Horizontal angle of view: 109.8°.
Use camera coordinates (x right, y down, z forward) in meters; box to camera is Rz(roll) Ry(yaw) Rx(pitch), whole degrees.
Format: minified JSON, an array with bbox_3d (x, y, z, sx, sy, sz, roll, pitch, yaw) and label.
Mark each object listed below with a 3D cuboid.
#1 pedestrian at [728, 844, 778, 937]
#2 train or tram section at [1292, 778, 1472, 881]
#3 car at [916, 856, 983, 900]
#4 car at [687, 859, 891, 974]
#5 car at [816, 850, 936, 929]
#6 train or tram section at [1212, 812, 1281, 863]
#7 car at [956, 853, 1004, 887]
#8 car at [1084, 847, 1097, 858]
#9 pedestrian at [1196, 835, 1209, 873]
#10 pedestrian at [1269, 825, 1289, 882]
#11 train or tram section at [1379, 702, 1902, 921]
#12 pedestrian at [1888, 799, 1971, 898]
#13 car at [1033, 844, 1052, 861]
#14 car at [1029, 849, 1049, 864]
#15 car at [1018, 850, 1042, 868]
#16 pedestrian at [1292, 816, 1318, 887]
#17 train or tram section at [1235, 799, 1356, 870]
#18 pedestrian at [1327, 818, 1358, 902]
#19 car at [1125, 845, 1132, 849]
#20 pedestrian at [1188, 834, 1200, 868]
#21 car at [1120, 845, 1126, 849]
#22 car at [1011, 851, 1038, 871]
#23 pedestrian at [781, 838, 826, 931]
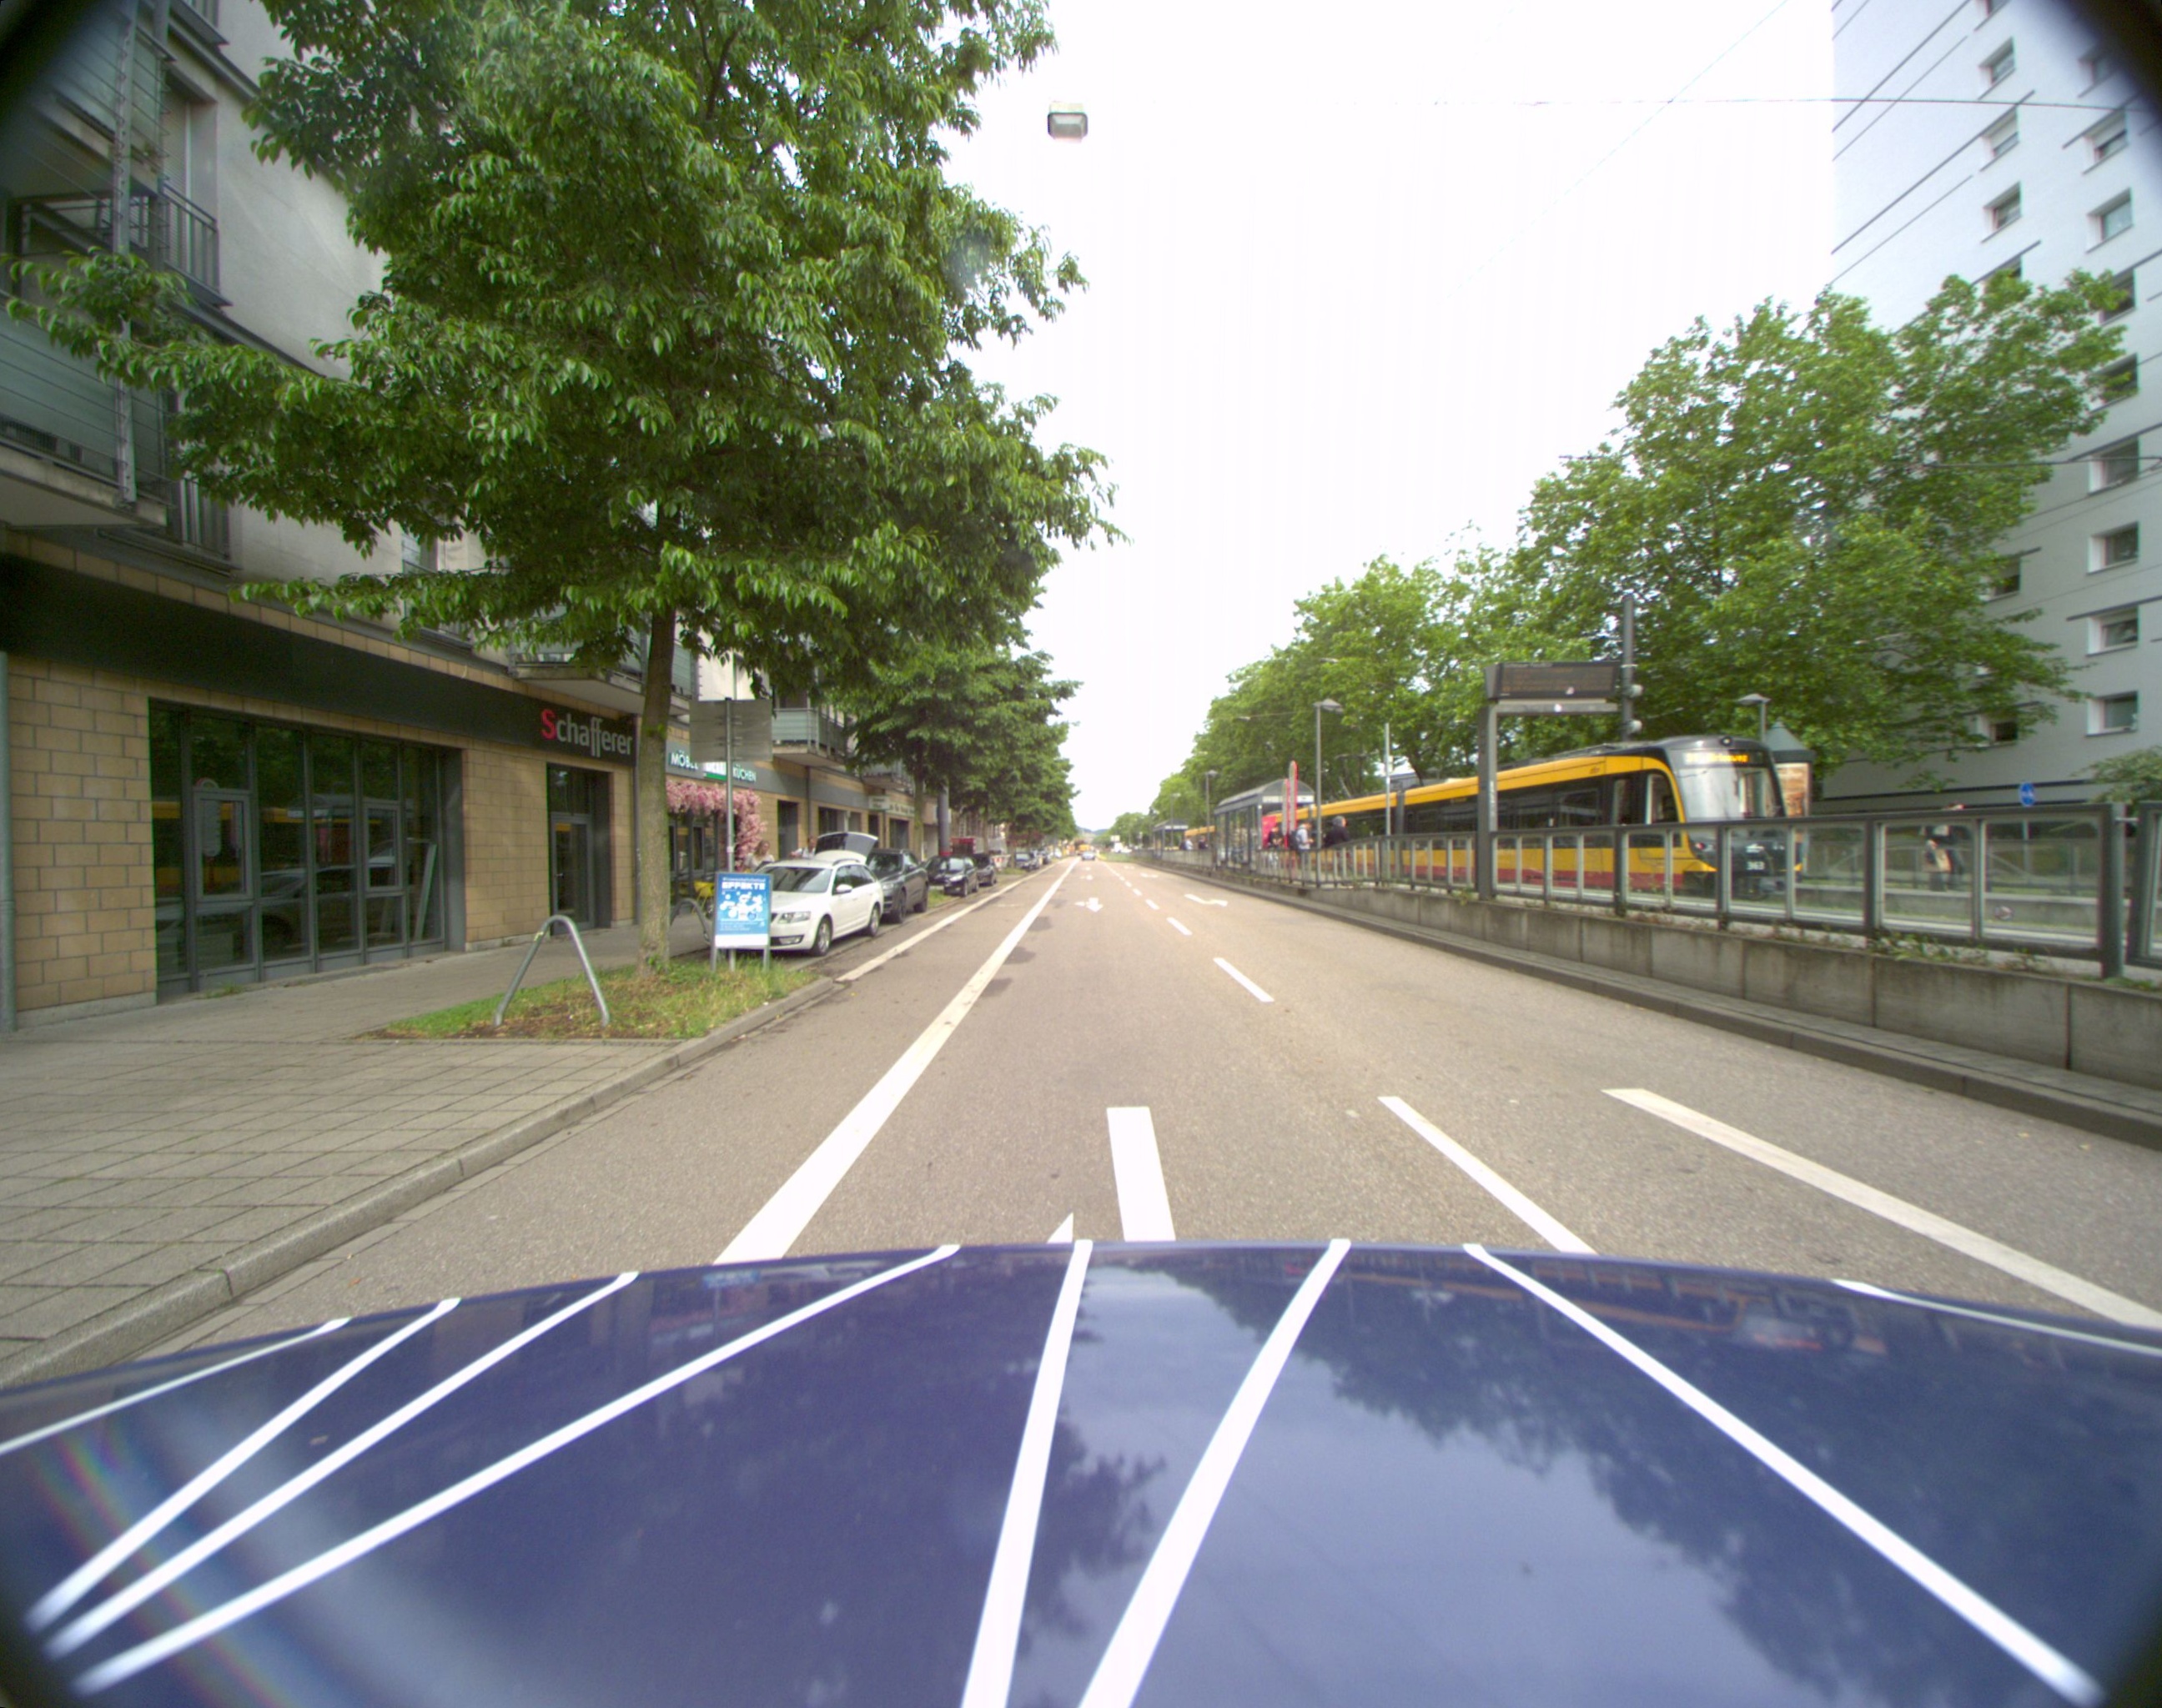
[{"bbox_3d":[-6.180,0.673,14.348,0.617,1.707,0.738,0,1,-2],"label":"pedestrian"},{"bbox_3d":[13.079,-0.992,34.873,3.338,3.731,12.547,-2,1,1],"label":"train or tram section"},{"bbox_3d":[-4.636,0.796,27.291,1.612,1.369,4.167,2,1,1],"label":"car"},{"bbox_3d":[-4.718,0.902,13.016,1.738,1.512,4.308,2,1,1],"label":"car"},{"bbox_3d":[-4.715,0.743,18.019,1.738,1.601,3.798,2,1,1],"label":"car"},{"bbox_3d":[13.472,-1.321,62.969,3.338,3.731,11.042,-2,1,1],"label":"train or tram section"},{"bbox_3d":[-4.556,0.686,34.752,1.612,1.393,3.667,2,1,1],"label":"car"},{"bbox_3d":[1.363,-0.238,105.240,1.716,1.379,4.099,-2,1,1],"label":"car"},{"bbox_3d":[5.848,0.003,36.539,0.530,1.794,0.606,-2,1,14],"label":"pedestrian"},{"bbox_3d":[6.313,-0.025,24.215,0.474,1.794,0.606,-2,1,26],"label":"pedestrian"},{"bbox_3d":[12.861,-0.828,20.992,3.338,3.731,15.201,-2,1,1],"label":"train or tram section"},{"bbox_3d":[15.354,-0.099,13.757,0.738,1.740,0.666,-2,1,1],"label":"pedestrian"},{"bbox_3d":[-3.962,-0.138,78.237,1.612,1.674,3.806,2,1,1],"label":"car"},{"bbox_3d":[-3.968,0.212,72.466,1.612,1.393,3.667,2,1,1],"label":"car"},{"bbox_3d":[-4.123,0.367,62.180,1.612,1.393,3.667,2,1,1],"label":"car"},{"bbox_3d":[5.755,-0.061,19.563,0.475,1.794,0.605,-2,1,5],"label":"pedestrian"},{"bbox_3d":[13.291,-1.161,49.291,3.338,3.731,16.247,-2,1,1],"label":"train or tram section"},{"bbox_3d":[5.707,0.122,16.595,0.521,1.794,0.605,-2,1,13],"label":"pedestrian"},{"bbox_3d":[15.133,-2.186,240.659,1.716,1.379,4.098,-1,1,-1],"label":"car"},{"bbox_3d":[6.141,-0.175,41.356,0.530,1.794,0.606,-2,1,14],"label":"pedestrian"},{"bbox_3d":[14.211,-2.302,257.419,1.715,1.379,4.099,-1,1,2],"label":"car"},{"bbox_3d":[-4.163,0.482,56.261,1.612,1.393,3.667,2,1,1],"label":"car"},{"bbox_3d":[-5.717,0.610,15.678,0.656,1.873,0.599,-1,1,1],"label":"pedestrian"}]
